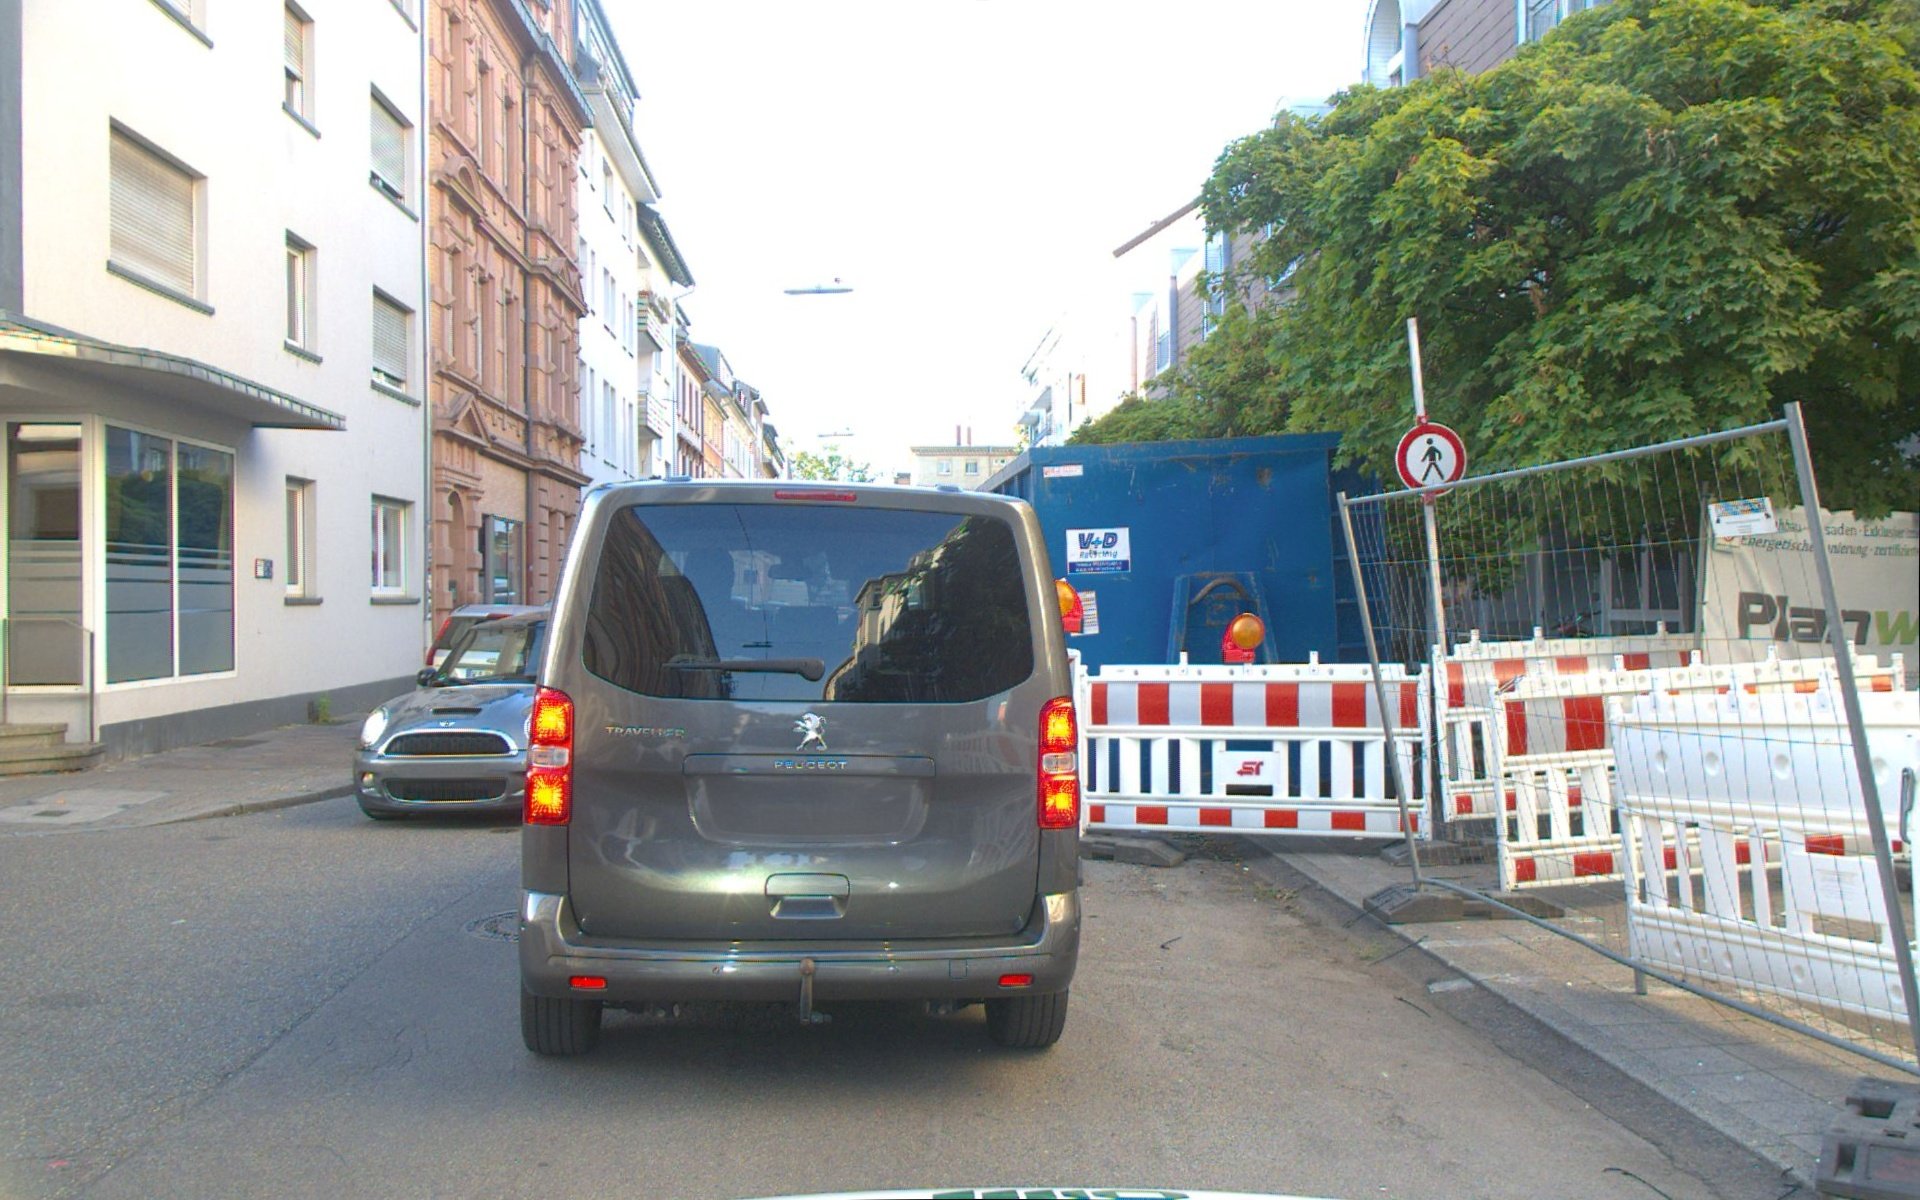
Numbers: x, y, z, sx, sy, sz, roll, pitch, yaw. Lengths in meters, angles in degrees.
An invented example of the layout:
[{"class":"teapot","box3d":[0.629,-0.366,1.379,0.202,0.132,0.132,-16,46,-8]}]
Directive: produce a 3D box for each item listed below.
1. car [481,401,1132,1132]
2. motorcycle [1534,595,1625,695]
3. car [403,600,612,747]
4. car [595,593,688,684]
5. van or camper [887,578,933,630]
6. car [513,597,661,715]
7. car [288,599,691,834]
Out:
[{"class":"car","box3d":[-0.577,0.465,6.830,1.821,2.049,3.997,-2,0,-4]},{"class":"motorcycle","box3d":[8.209,0.579,22.000,0.851,1.244,2.459,-1,-1,14]},{"class":"car","box3d":[-4.887,0.731,18.291,1.600,1.455,3.551,0,0,-5]},{"class":"car","box3d":[-5.857,0.677,30.641,1.368,1.616,2.791,0,0,-4]},{"class":"van or camper","box3d":[-2.773,0.213,90.179,2.059,2.647,7.504,-1,0,-5]},{"class":"car","box3d":[-5.323,0.754,23.987,1.525,1.535,3.594,2,0,-4]},{"class":"car","box3d":[-3.361,0.754,12.681,1.953,1.512,4.000,0,0,0]}]
